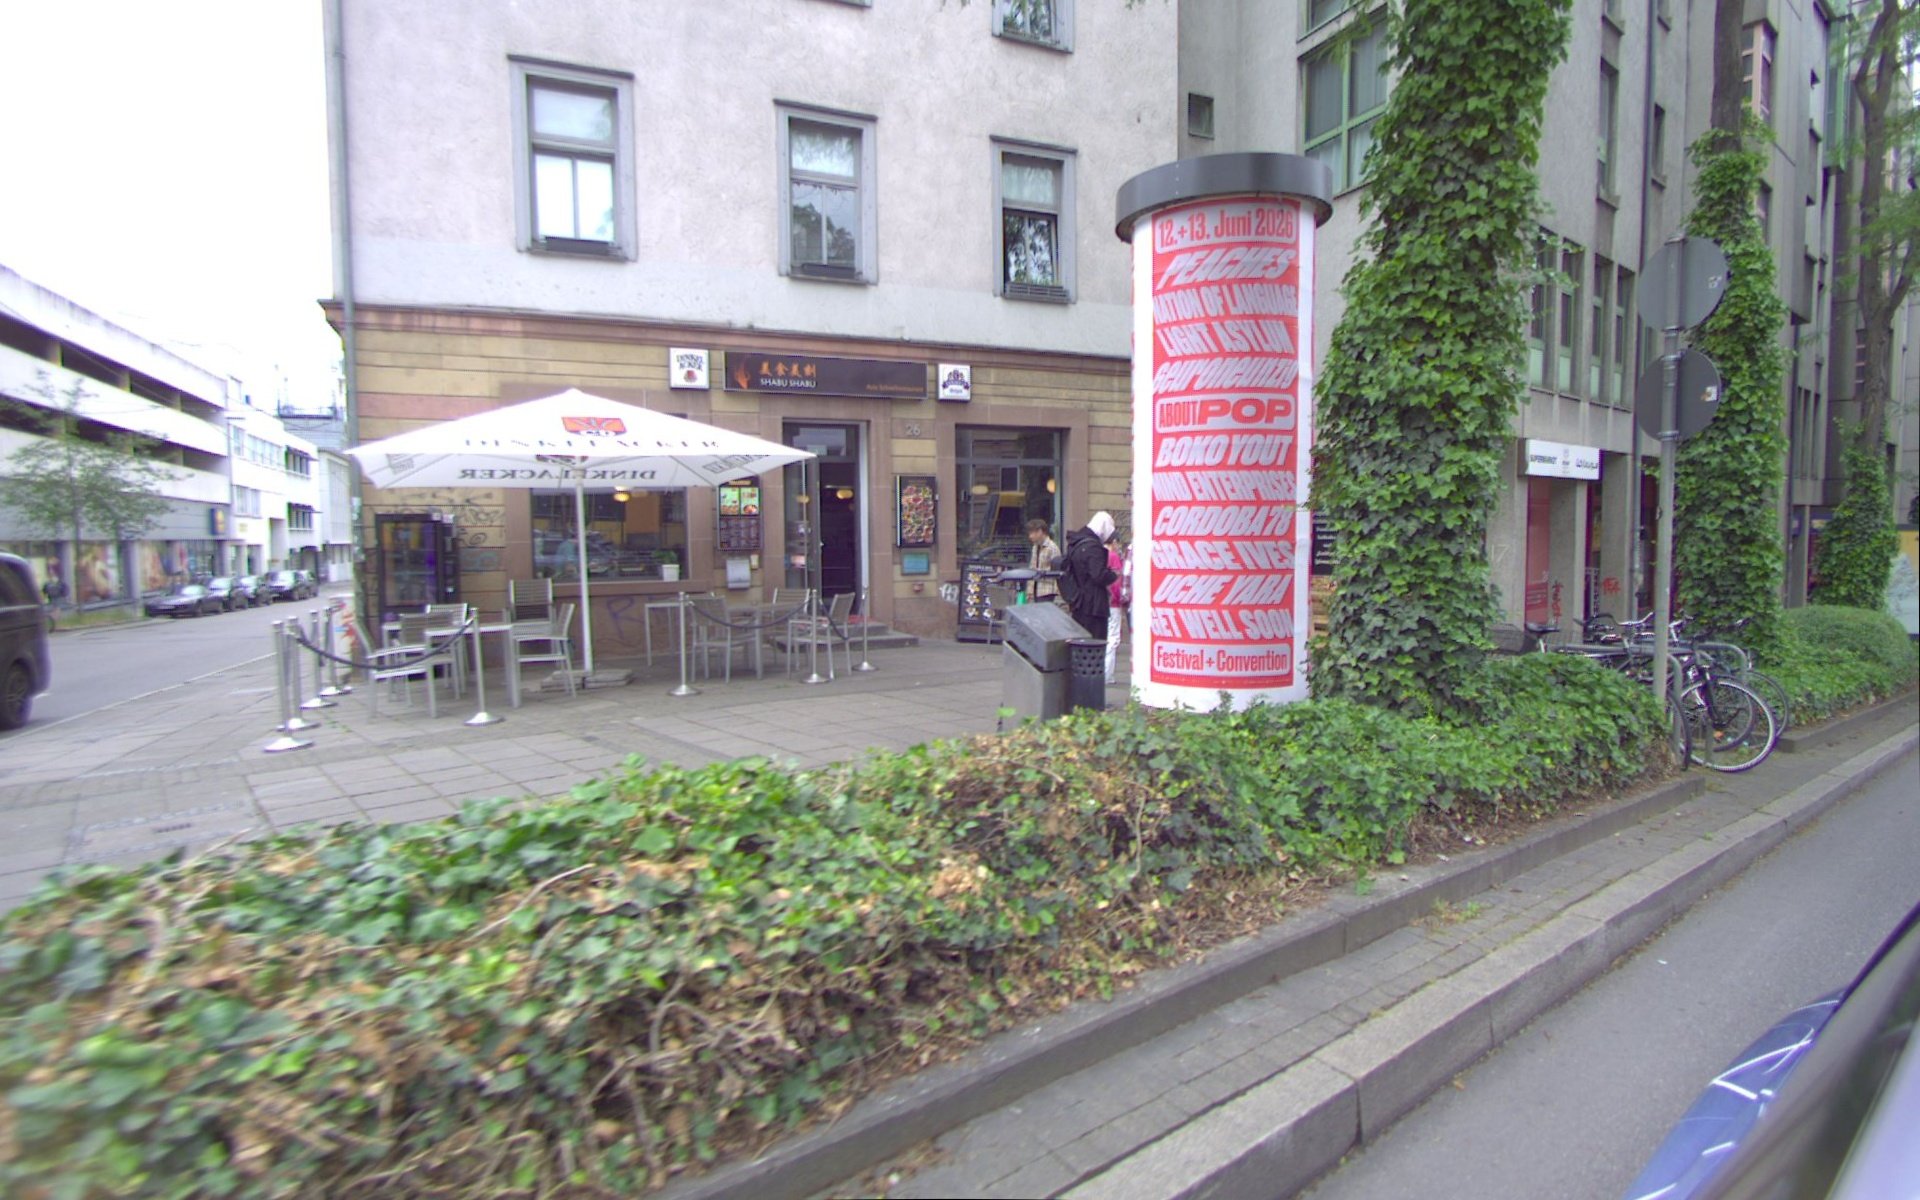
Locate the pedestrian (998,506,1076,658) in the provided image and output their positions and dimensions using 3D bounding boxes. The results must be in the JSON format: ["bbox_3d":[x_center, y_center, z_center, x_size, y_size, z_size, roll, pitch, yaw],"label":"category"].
[{"bbox_3d":[0.962,-0.222,12.865,0.720,1.856,0.905,1,0,-12],"label":"pedestrian"}]

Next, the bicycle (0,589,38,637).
[{"bbox_3d":[-25.000,0.340,26.030,1.798,1.224,0.630,0,0,-25],"label":"bicycle"}]

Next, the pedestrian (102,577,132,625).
[{"bbox_3d":[-30.361,0.035,36.457,0.640,1.731,0.668,0,0,-20],"label":"pedestrian"}]

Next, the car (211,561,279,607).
[{"bbox_3d":[-33.644,-0.756,47.752,1.838,2.039,4.008,0,1,-24],"label":"car"}]

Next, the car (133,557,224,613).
[{"bbox_3d":[-30.165,-0.583,39.190,1.838,2.039,4.008,0,1,-24],"label":"car"}]

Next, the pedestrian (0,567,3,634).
[{"bbox_3d":[-29.612,0.010,30.748,0.589,2.039,0.572,0,0,-24],"label":"pedestrian"}]

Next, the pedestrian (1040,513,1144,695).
[{"bbox_3d":[1.170,0.030,8.998,0.651,1.542,0.625,0,0,-34],"label":"pedestrian"}]

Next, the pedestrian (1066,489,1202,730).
[{"bbox_3d":[1.470,0.071,8.565,0.863,1.913,0.707,0,0,-34],"label":"pedestrian"}]

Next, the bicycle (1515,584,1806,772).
[{"bbox_3d":[5.356,0.531,7.832,0.533,1.236,1.742,0,3,-44],"label":"bicycle"}]

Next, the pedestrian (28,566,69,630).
[{"bbox_3d":[-29.356,-0.067,32.608,0.759,2.039,0.856,0,0,-24],"label":"pedestrian"}]

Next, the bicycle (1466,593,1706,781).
[{"bbox_3d":[4.557,0.574,7.429,0.533,1.237,1.421,0,0,-44],"label":"bicycle"}]

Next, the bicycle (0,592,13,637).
[{"bbox_3d":[-24.860,0.363,25.303,1.619,1.115,0.523,0,0,-25],"label":"bicycle"}]

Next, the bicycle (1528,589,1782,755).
[{"bbox_3d":[5.883,0.550,8.640,0.533,1.237,1.689,0,2,-44],"label":"bicycle"}]

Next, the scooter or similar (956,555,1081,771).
[{"bbox_3d":[0.346,0.353,6.745,0.618,1.269,1.393,1,3,-5],"label":"scooter or similar"}]

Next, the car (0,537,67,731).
[{"bbox_3d":[-10.048,0.376,8.733,1.959,1.931,5.162,-2,1,-23],"label":"car"}]
